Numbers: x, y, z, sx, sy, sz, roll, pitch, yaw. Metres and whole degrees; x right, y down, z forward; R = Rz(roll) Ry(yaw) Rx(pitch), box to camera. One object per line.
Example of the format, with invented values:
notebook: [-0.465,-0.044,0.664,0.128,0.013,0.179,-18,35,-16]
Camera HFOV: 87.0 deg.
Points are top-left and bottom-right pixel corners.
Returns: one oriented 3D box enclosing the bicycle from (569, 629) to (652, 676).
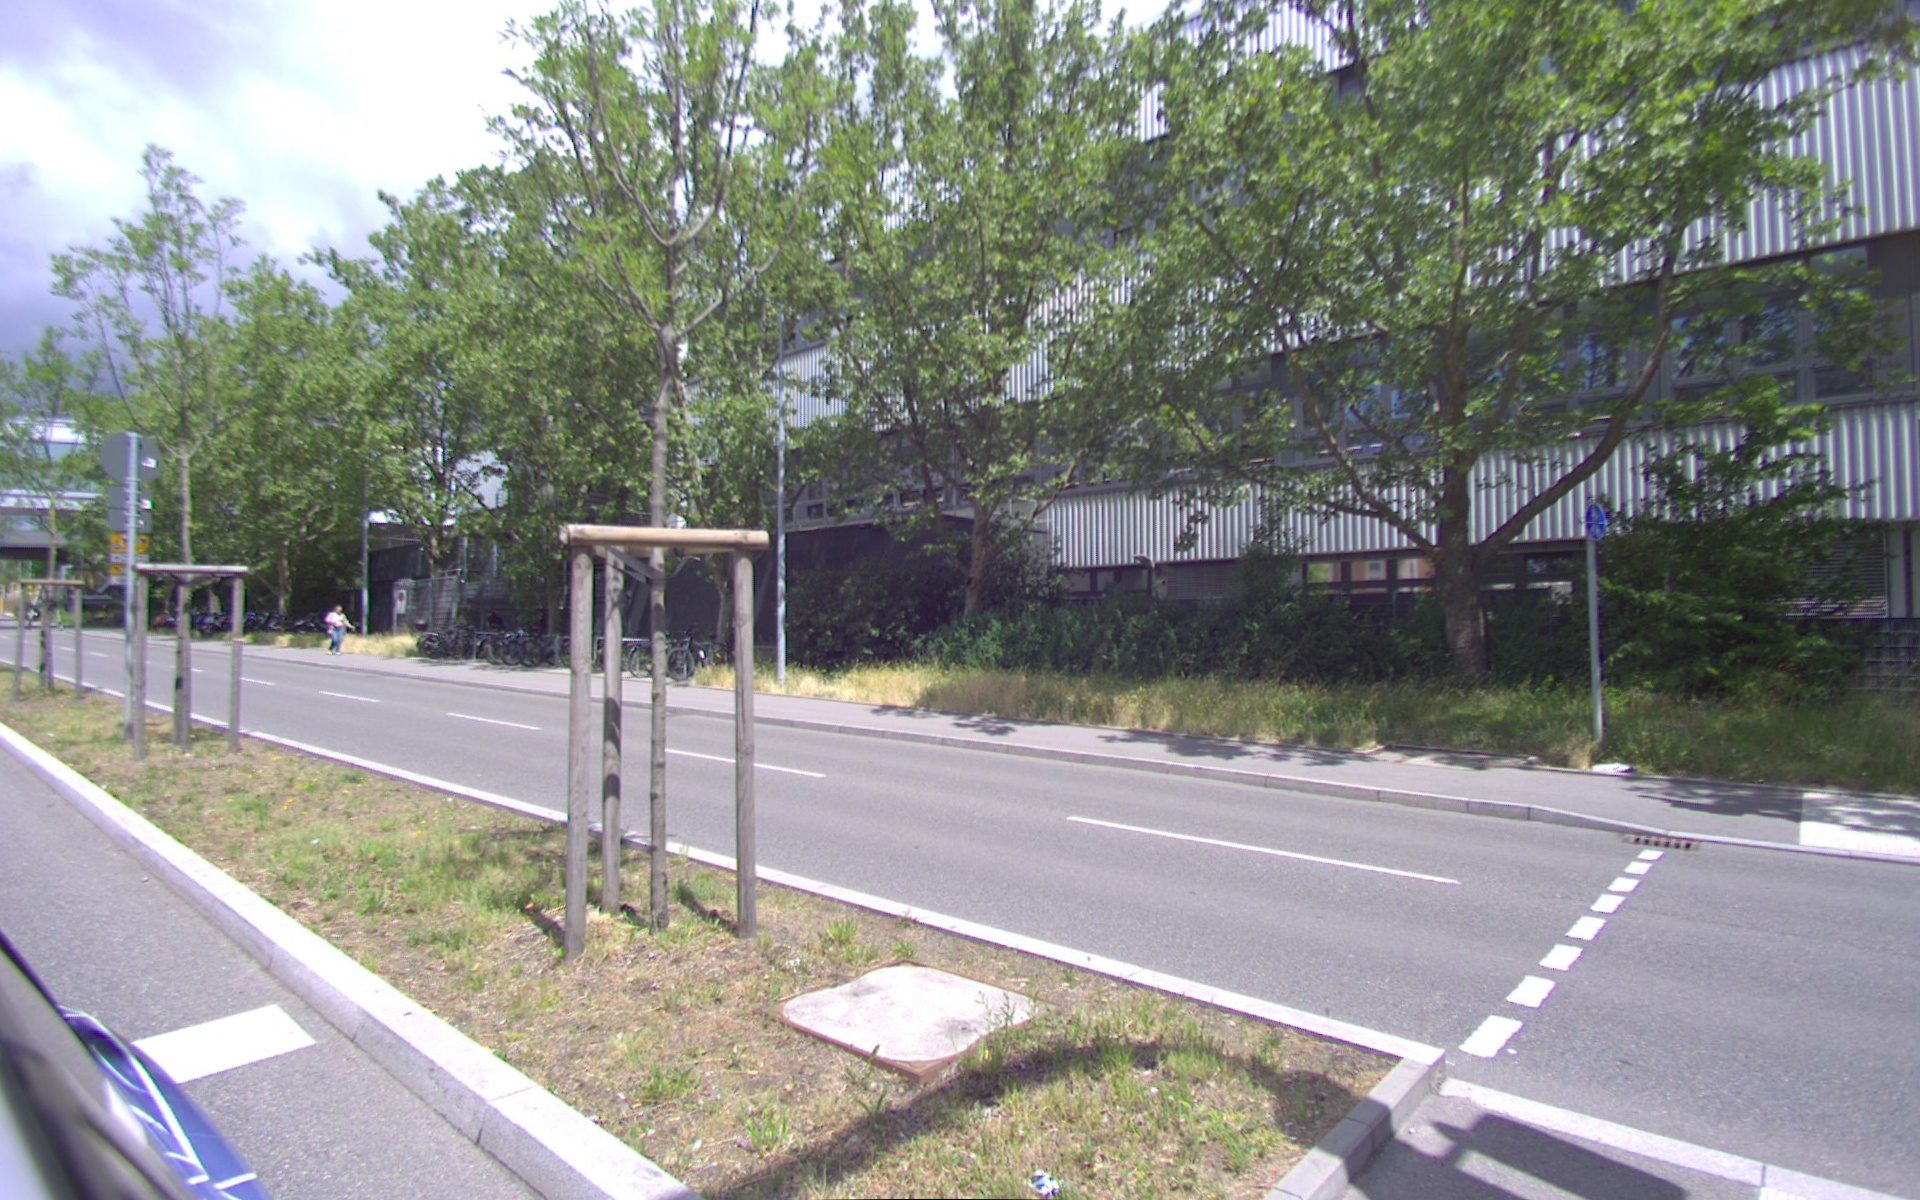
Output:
bicycle: [-8.937,1.328,25.949,0.382,1.104,2.101,-1,-1,43]

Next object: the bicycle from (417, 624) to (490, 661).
bicycle: [-16.159,1.342,32.336,0.382,1.119,2.101,-1,-1,43]

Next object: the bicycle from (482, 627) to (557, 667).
bicycle: [-13.088,1.387,30.124,0.382,1.119,2.101,-1,-1,43]

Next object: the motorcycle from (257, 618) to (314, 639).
motorcycle: [-30.467,1.300,45.747,0.534,0.905,2.105,-1,-1,41]

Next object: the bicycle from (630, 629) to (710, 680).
bicycle: [-6.811,1.262,23.846,0.381,1.137,1.968,-1,-1,39]

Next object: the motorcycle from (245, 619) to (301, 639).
motorcycle: [-31.899,1.335,47.025,0.534,0.892,2.105,-1,-1,41]

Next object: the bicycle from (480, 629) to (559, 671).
bicycle: [-12.594,1.405,28.975,0.382,1.119,2.101,-1,-1,43]

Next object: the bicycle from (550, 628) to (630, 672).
bicycle: [-10.012,1.328,27.469,0.382,1.119,2.101,-1,-1,43]

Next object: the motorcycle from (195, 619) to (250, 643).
motorcycle: [-36.075,1.499,49.523,0.534,1.146,2.105,-1,-1,41]

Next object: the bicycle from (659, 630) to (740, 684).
bicycle: [-5.930,1.278,23.125,0.381,1.137,1.968,-1,-1,39]

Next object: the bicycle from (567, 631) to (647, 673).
bicycle: [-9.343,1.361,26.857,0.382,1.038,2.101,-1,-1,43]

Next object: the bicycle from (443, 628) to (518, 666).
bicycle: [-14.770,1.436,31.244,0.382,1.119,2.101,-1,-1,43]

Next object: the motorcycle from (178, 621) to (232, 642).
motorcycle: [-37.584,1.570,50.391,0.534,0.976,2.105,-1,-1,41]

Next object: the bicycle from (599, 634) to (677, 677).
bicycle: [-8.065,1.380,25.430,0.381,1.005,1.968,-1,-1,39]

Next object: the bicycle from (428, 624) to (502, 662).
bicycle: [-15.516,1.323,31.792,0.382,1.119,2.101,-1,-1,43]

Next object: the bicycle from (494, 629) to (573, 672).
bicycle: [-11.936,1.387,28.381,0.382,1.119,2.101,-1,-1,43]

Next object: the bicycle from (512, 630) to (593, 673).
bicycle: [-11.144,1.390,27.732,0.382,1.119,2.101,-1,-1,43]

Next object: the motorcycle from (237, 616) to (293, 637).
motorcycle: [-32.916,1.256,47.959,0.534,0.976,2.105,-1,-1,41]

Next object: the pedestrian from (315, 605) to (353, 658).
pedestrian: [-21.077,1.051,34.073,0.672,1.733,0.888,-1,-2,41]

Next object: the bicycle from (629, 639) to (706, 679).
bicycle: [-7.192,1.435,24.947,0.381,0.897,1.968,-1,-1,39]
